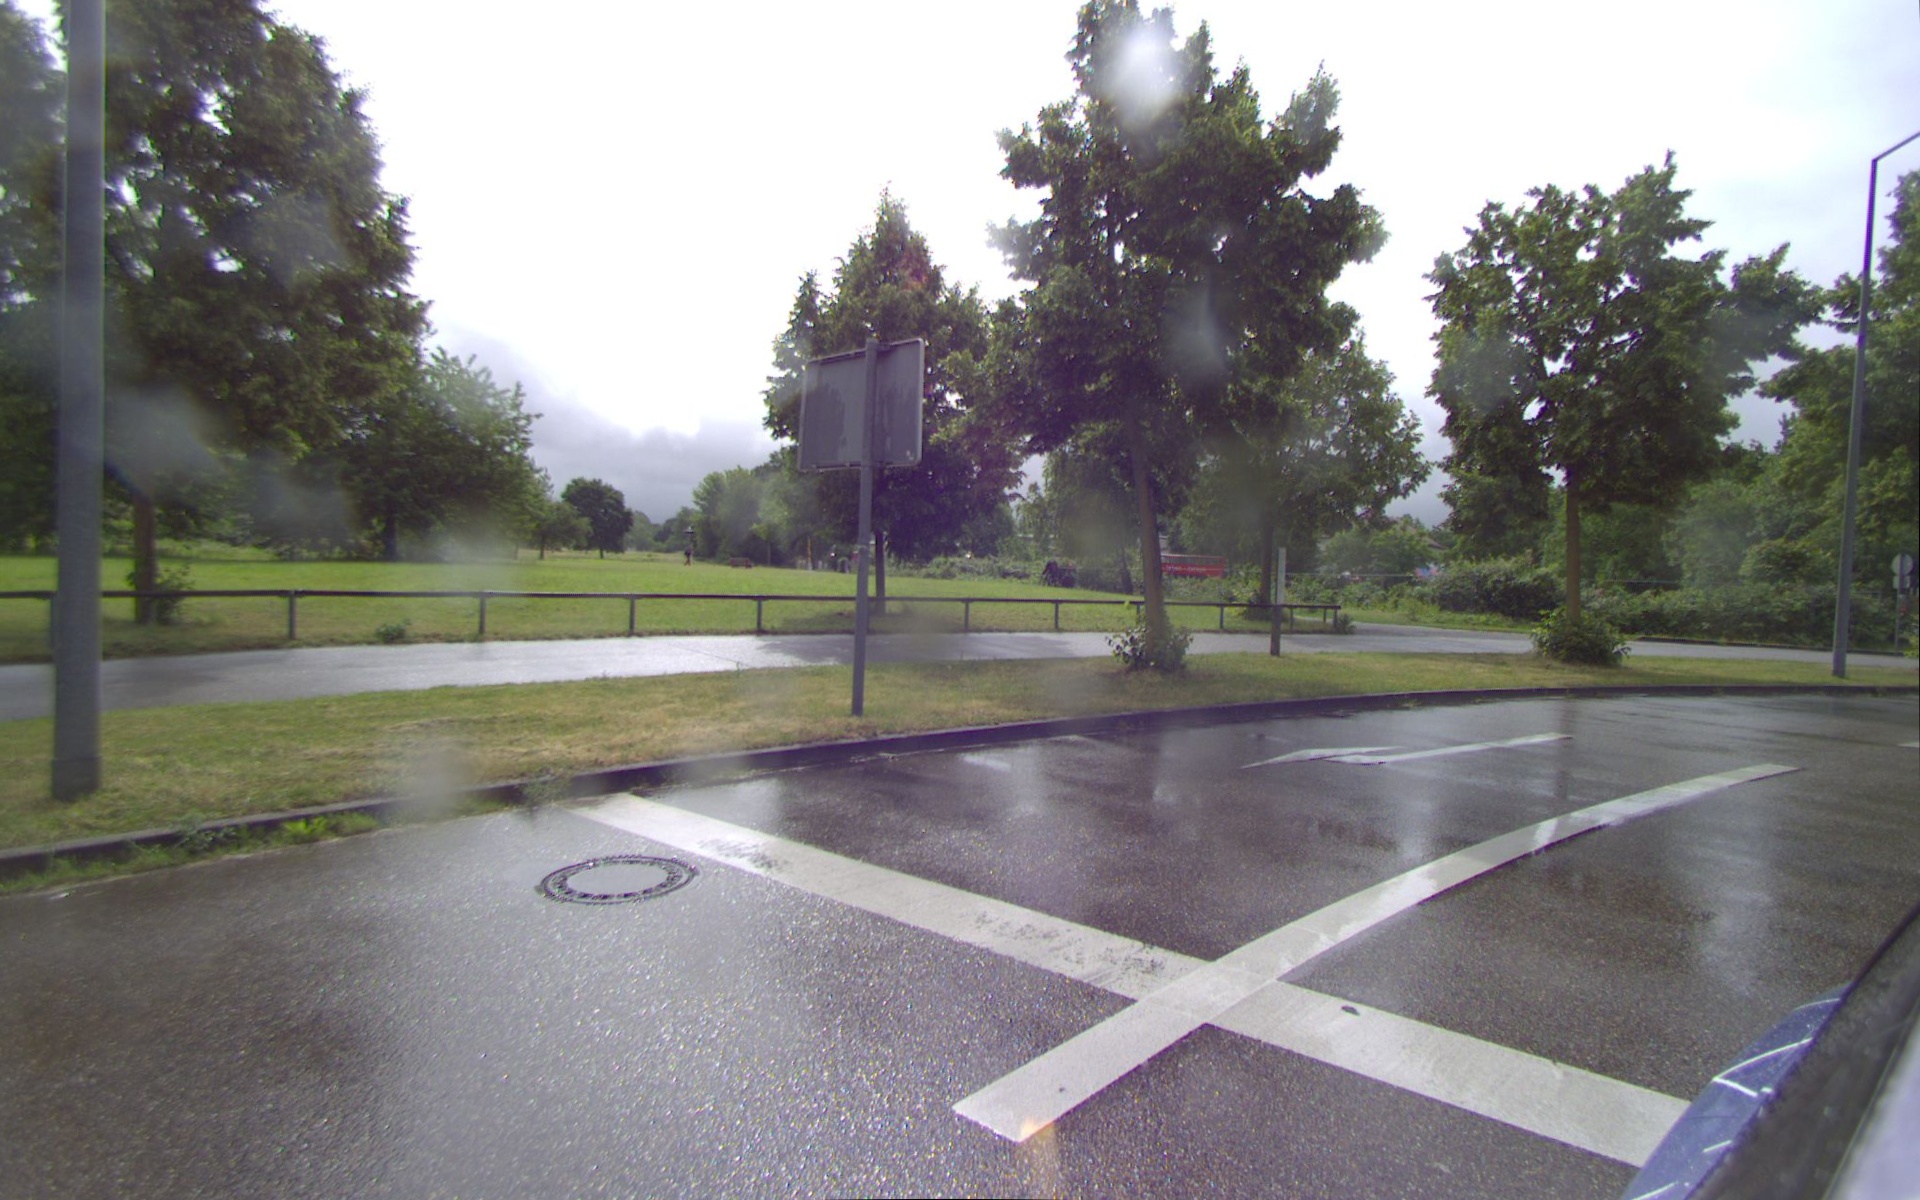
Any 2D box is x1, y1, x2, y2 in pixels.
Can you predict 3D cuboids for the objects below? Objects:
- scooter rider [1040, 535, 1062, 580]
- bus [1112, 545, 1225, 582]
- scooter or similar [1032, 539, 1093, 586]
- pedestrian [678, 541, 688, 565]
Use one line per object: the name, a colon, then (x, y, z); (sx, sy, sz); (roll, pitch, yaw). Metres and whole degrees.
scooter rider: (4.244, -1.966, 47.281); (0.692, 2.039, 0.771); (2, 0, -27)
bus: (20.772, -3.635, 101.188); (10.848, 3.504, 1.987); (2, 0, 20)
scooter or similar: (4.654, -1.694, 46.304); (1.214, 2.039, 3.415); (1, 0, -24)
pedestrian: (-21.137, -3.599, 77.195); (0.593, 1.754, 0.600); (1, 0, -5)
